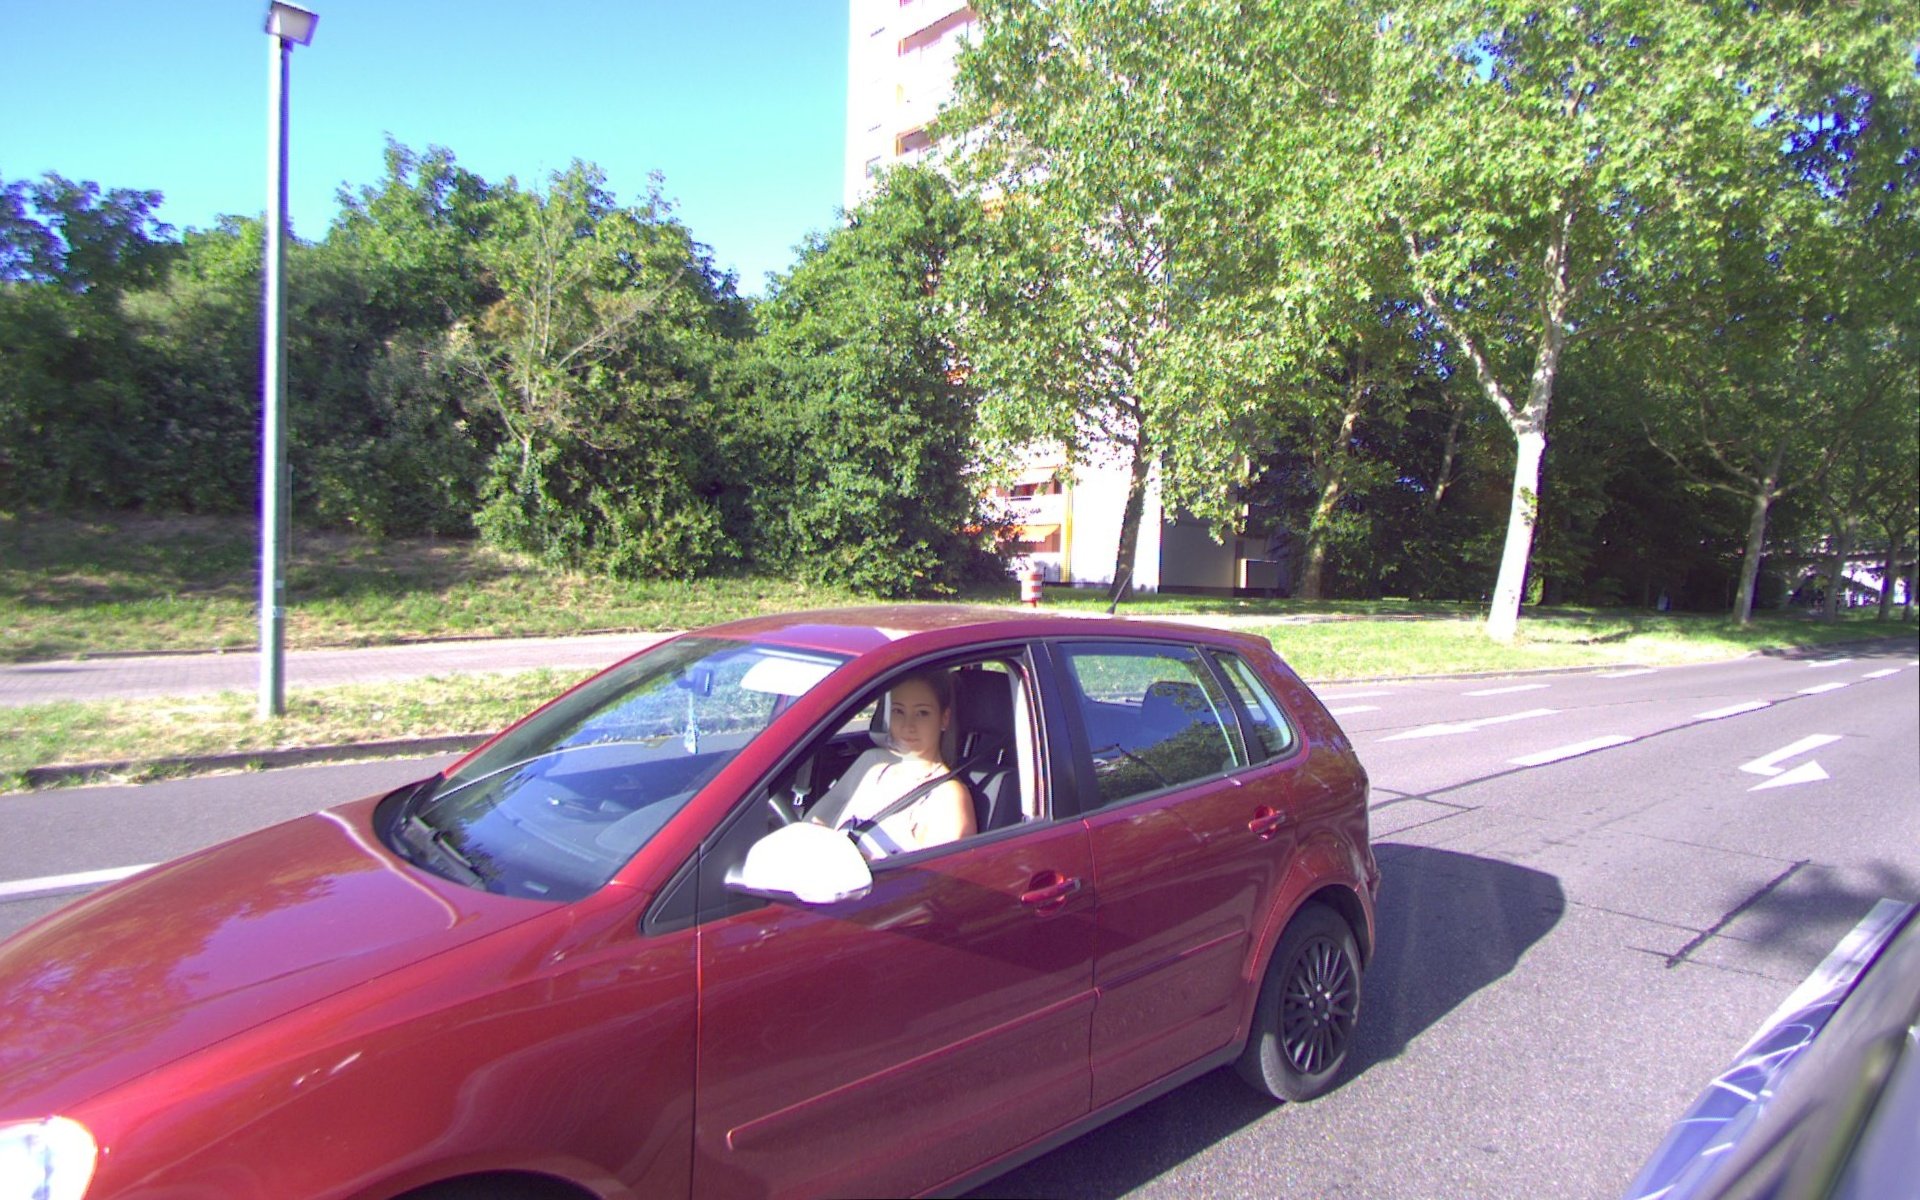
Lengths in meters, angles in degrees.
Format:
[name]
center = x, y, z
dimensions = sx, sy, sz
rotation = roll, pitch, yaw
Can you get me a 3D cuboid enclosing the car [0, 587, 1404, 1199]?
[car]
center = -0.442, 0.711, 2.729
dimensions = 3.624, 1.479, 1.579
rotation = -1, 0, -40
